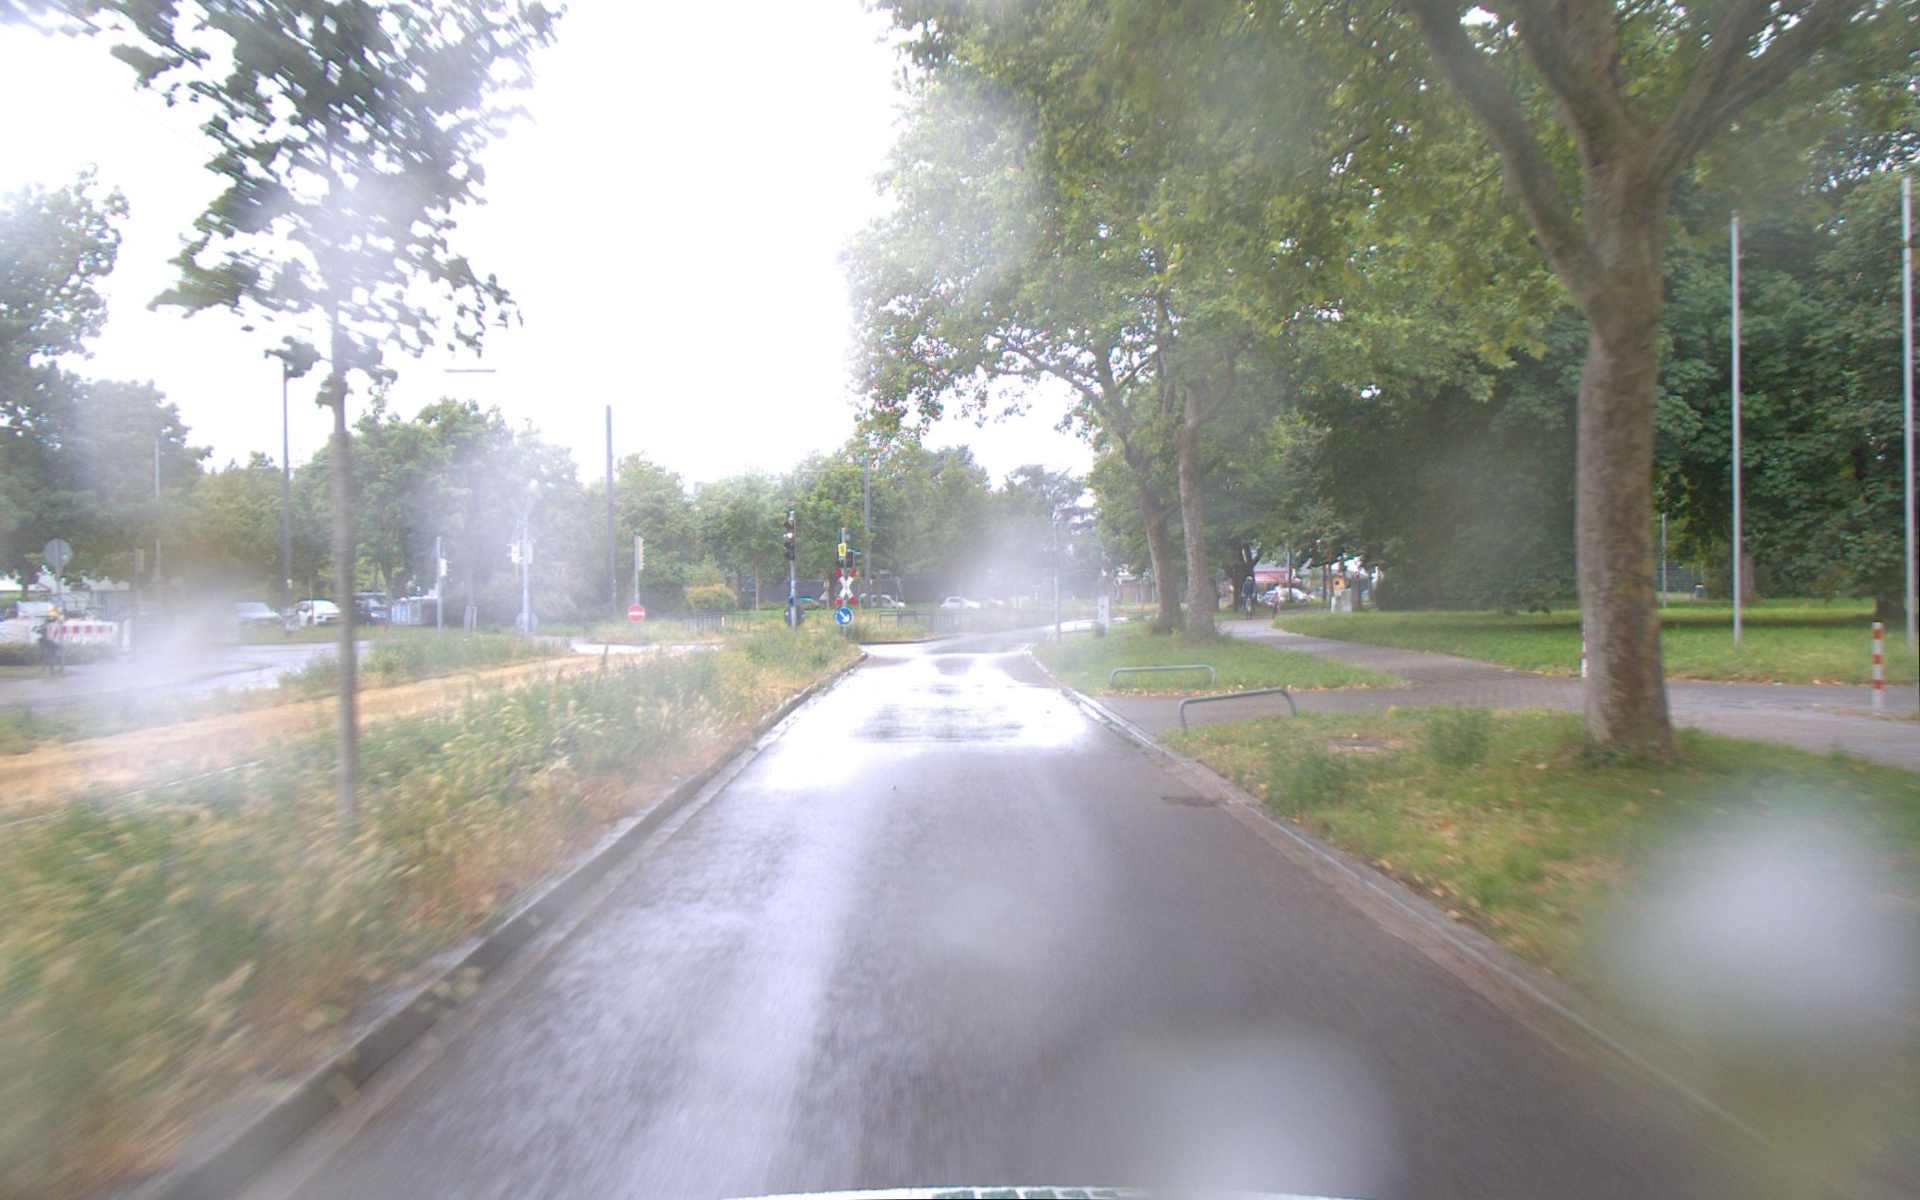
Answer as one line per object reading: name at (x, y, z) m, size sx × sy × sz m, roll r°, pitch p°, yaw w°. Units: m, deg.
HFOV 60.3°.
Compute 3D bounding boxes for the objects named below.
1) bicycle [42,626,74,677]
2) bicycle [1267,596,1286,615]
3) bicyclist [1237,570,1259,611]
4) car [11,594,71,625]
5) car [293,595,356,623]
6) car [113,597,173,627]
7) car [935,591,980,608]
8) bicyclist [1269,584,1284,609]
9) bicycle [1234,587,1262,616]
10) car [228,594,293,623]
bicycle at (-19.837, 1.114, 36.396) m, size 0.474 × 1.037 × 1.827 m, roll 2°, pitch 0°, yaw -25°
bicycle at (13.420, 0.227, 70.122) m, size 0.477 × 0.721 × 1.457 m, roll -1°, pitch 1°, yaw 25°
bicyclist at (12.306, -0.410, 70.592) m, size 0.697 × 1.751 × 0.957 m, roll -1°, pitch 1°, yaw 25°
car at (-39.637, 0.402, 71.318) m, size 1.649 × 1.271 × 3.689 m, roll -1°, pitch 0°, yaw -39°
car at (-30.543, 0.439, 79.444) m, size 1.651 × 1.271 × 3.685 m, roll -1°, pitch 0°, yaw -42°
car at (-36.932, 0.539, 74.739) m, size 1.649 × 1.271 × 3.689 m, roll -1°, pitch 0°, yaw -39°
car at (-0.212, -0.068, 159.043) m, size 3.979 × 1.525 × 1.653 m, roll -1°, pitch 0°, yaw 16°
bicyclist at (13.399, -0.156, 70.083) m, size 0.477 × 1.056 × 0.591 m, roll -1°, pitch 1°, yaw 25°
bicycle at (12.303, 0.068, 70.577) m, size 0.697 × 1.162 × 1.971 m, roll -1°, pitch 1°, yaw 25°
car at (-32.579, 0.400, 76.997) m, size 1.651 × 1.271 × 3.685 m, roll -1°, pitch 0°, yaw -42°
